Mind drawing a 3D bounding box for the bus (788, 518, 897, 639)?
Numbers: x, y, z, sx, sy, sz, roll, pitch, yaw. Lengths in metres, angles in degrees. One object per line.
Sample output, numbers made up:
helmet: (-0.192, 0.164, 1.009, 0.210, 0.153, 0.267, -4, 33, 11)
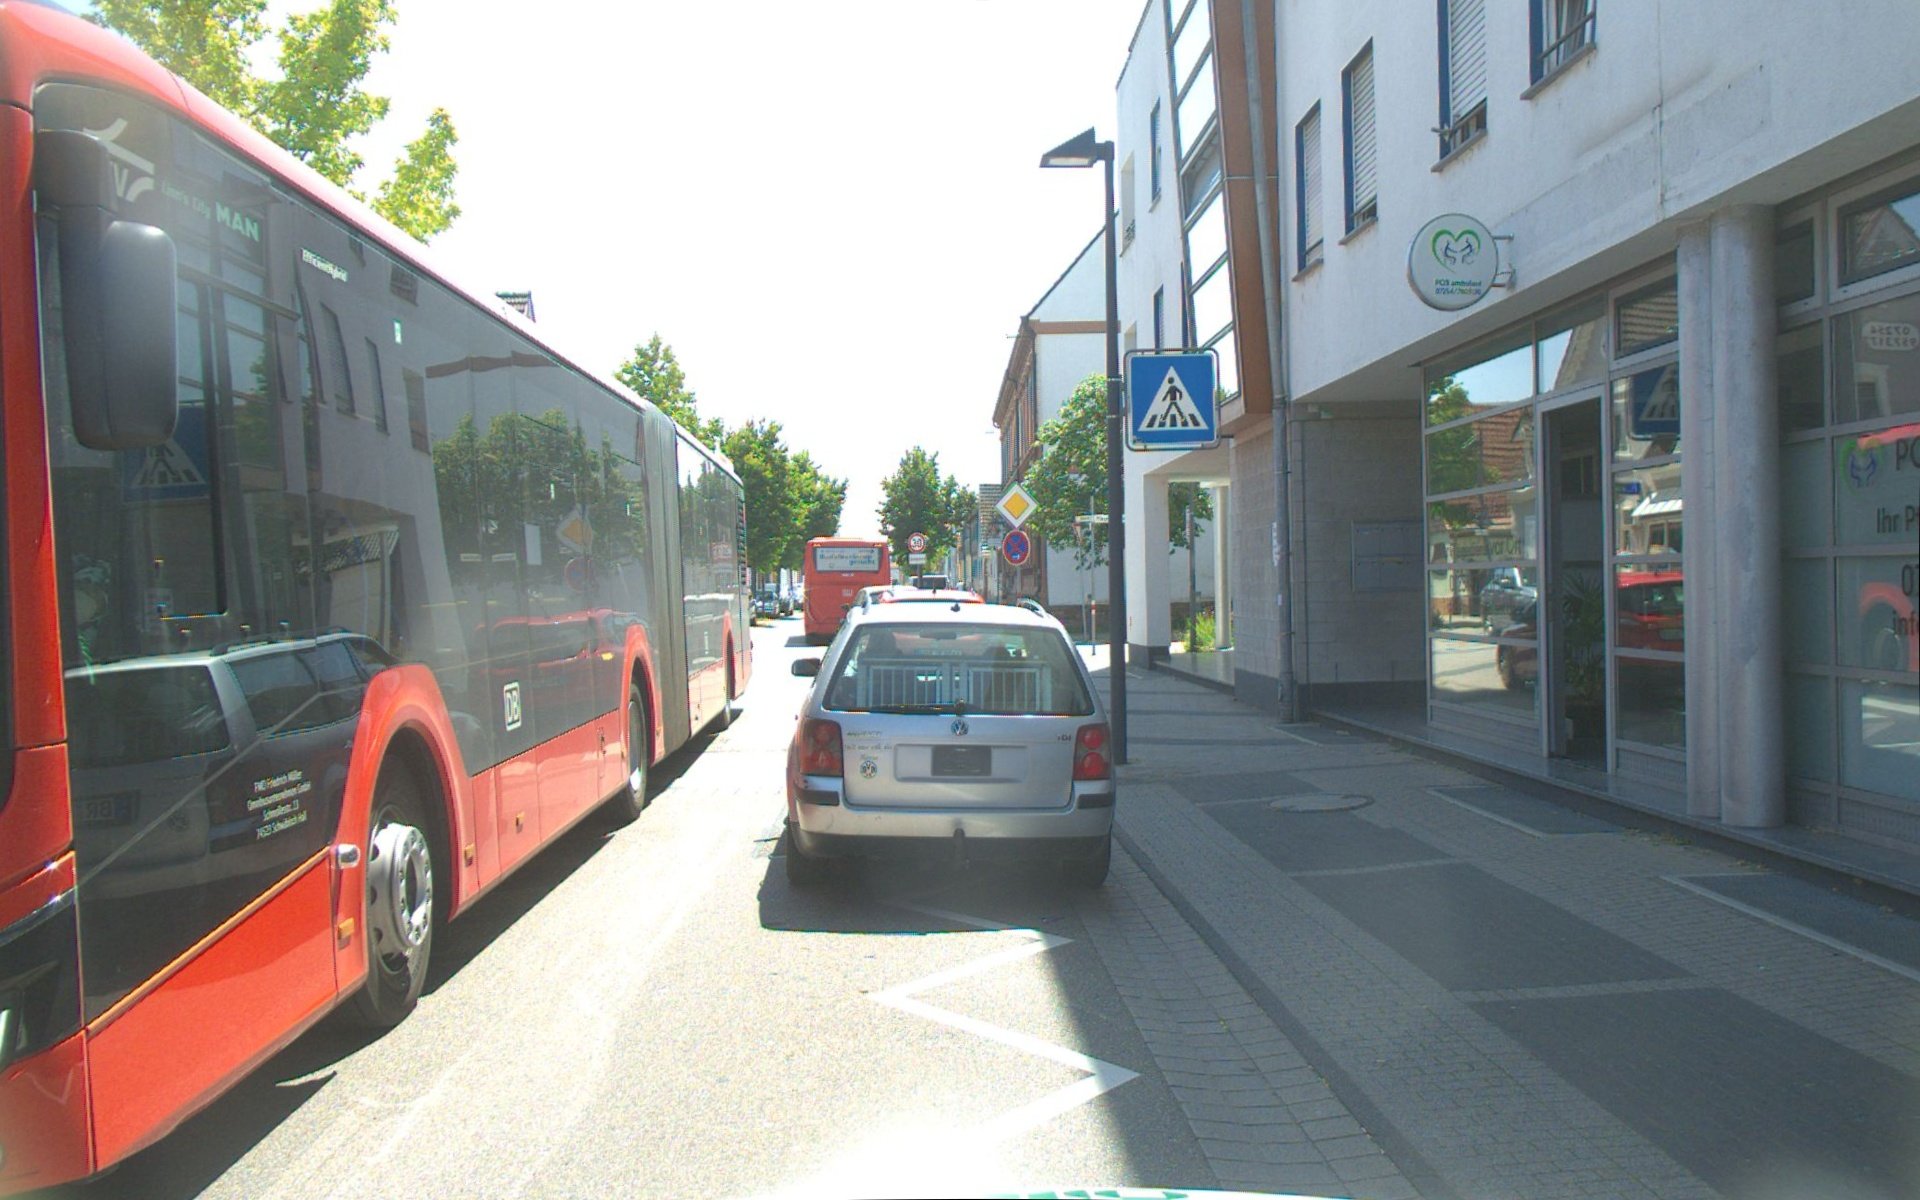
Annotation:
bus: (-3.937, -0.619, 52.630, 2.688, 3.356, 12.683, -1, 0, -8)

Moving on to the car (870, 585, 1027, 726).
car: (-0.192, 0.581, 19.562, 1.643, 1.455, 3.678, -2, 0, -2)

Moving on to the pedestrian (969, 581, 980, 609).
pedestrian: (0.894, -0.314, 101.058, 0.594, 1.696, 0.789, -1, 0, -4)

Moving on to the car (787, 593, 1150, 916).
car: (-0.031, 0.709, 9.475, 1.643, 1.455, 3.678, 1, 0, -2)

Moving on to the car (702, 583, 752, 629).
car: (-9.984, 0.241, 71.127, 1.729, 1.870, 3.787, -1, 0, -3)

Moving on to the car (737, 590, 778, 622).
car: (-10.473, 0.284, 85.777, 1.775, 1.586, 3.998, -1, 0, -3)

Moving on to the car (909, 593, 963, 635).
car: (-0.829, 0.445, 55.469, 1.685, 1.332, 3.624, -1, 0, -3)

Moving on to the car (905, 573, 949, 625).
car: (-1.437, -0.051, 70.572, 1.752, 2.118, 3.624, -1, 0, -3)

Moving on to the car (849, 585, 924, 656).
car: (-1.558, 0.416, 35.981, 1.561, 1.455, 3.678, 0, 0, -1)

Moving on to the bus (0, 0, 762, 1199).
bus: (-3.432, -0.153, 11.922, 2.615, 3.178, 17.797, -2, 0, -3)

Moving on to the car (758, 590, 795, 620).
car: (-10.249, 0.280, 92.581, 1.775, 1.586, 3.998, -1, 0, -3)

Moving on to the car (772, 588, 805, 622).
car: (-10.868, 0.297, 104.989, 1.775, 2.030, 3.998, -1, 0, -3)

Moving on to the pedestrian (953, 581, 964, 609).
pedestrian: (-0.089, -0.313, 100.904, 0.594, 1.696, 0.789, -1, 0, -4)

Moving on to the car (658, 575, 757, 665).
car: (-5.308, 0.382, 35.196, 1.641, 1.746, 4.229, -1, 0, -3)
